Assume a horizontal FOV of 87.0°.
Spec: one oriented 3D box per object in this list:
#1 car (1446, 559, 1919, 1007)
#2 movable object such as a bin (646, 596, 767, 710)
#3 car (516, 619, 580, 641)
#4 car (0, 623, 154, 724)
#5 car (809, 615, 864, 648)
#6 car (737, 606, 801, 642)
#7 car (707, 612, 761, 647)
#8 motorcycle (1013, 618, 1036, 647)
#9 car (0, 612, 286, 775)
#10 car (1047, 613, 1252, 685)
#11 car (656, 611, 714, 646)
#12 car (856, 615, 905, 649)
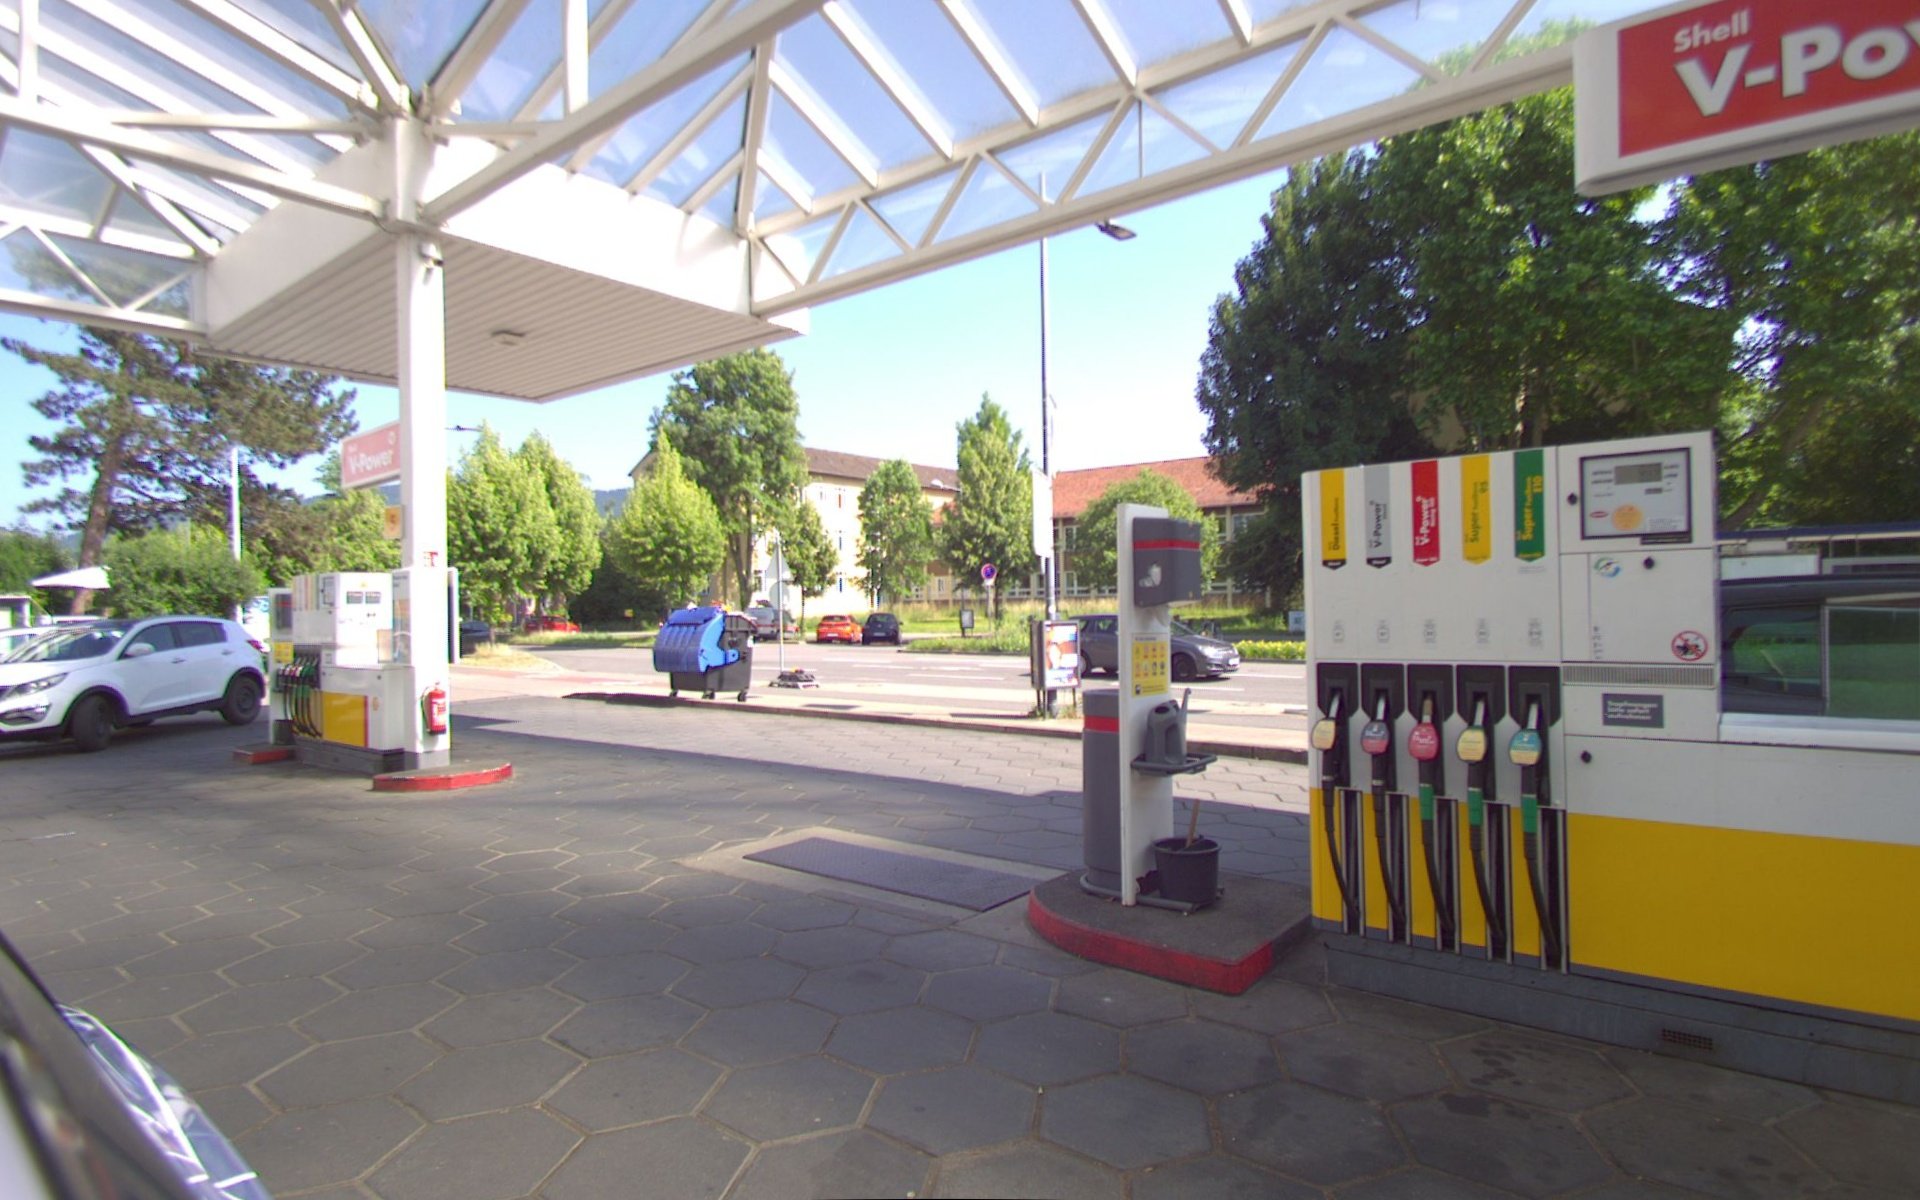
[{"bbox_3d":[4.222,0.639,3.860,3.995,1.543,1.726,-1,-2,39],"label":"car"},{"bbox_3d":[-4.018,0.827,16.066,1.336,1.701,1.324,-1,-3,40],"label":"movable object such as a bin"},{"bbox_3d":[-26.559,1.944,65.347,1.868,1.401,3.700,0,-2,21],"label":"car"},{"bbox_3d":[-16.893,1.314,18.077,1.691,1.629,3.613,-2,1,40],"label":"car"},{"bbox_3d":[-5.778,1.470,47.884,1.857,1.471,4.221,0,-2,3],"label":"car"},{"bbox_3d":[-9.671,1.231,51.606,1.861,1.735,4.212,0,-2,10],"label":"car"},{"bbox_3d":[-11.750,1.531,52.905,1.855,1.735,4.225,1,-2,0],"label":"car"},{"bbox_3d":[2.632,1.324,41.213,0.552,1.122,1.750,-1,-1,15],"label":"motorcycle"},{"bbox_3d":[-11.474,1.104,13.547,1.935,1.719,4.306,-2,1,1],"label":"car"},{"bbox_3d":[4.297,1.086,23.219,4.367,1.479,1.551,-1,0,35],"label":"car"},{"bbox_3d":[-14.200,1.496,52.529,1.855,1.735,4.225,1,-2,0],"label":"car"},{"bbox_3d":[-3.602,1.477,46.469,1.719,1.471,4.221,0,-2,3],"label":"car"}]
